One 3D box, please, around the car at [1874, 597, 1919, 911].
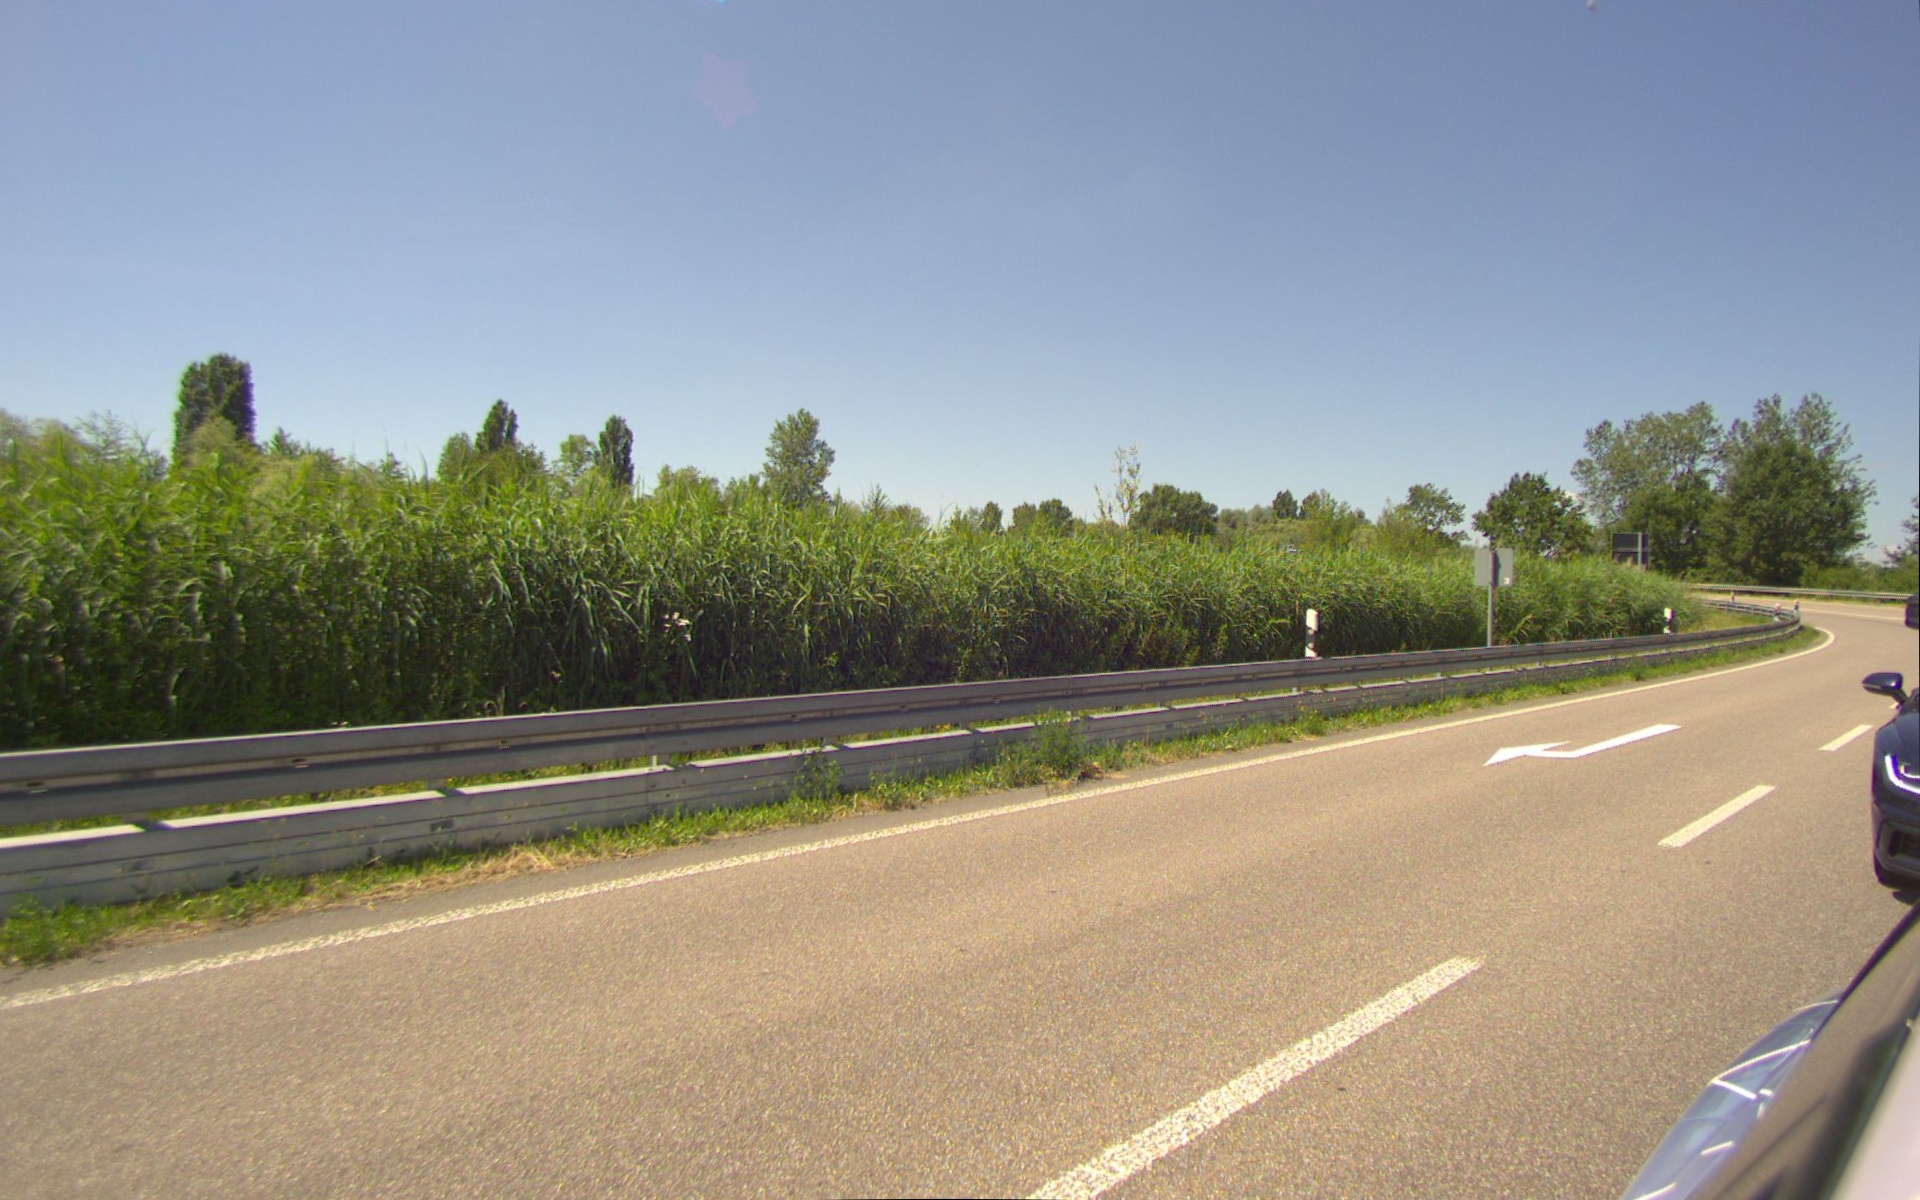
[{"bbox_3d":[6.343,0.697,5.390,3.931,1.427,1.759,-1,1,-41],"label":"car"}]
